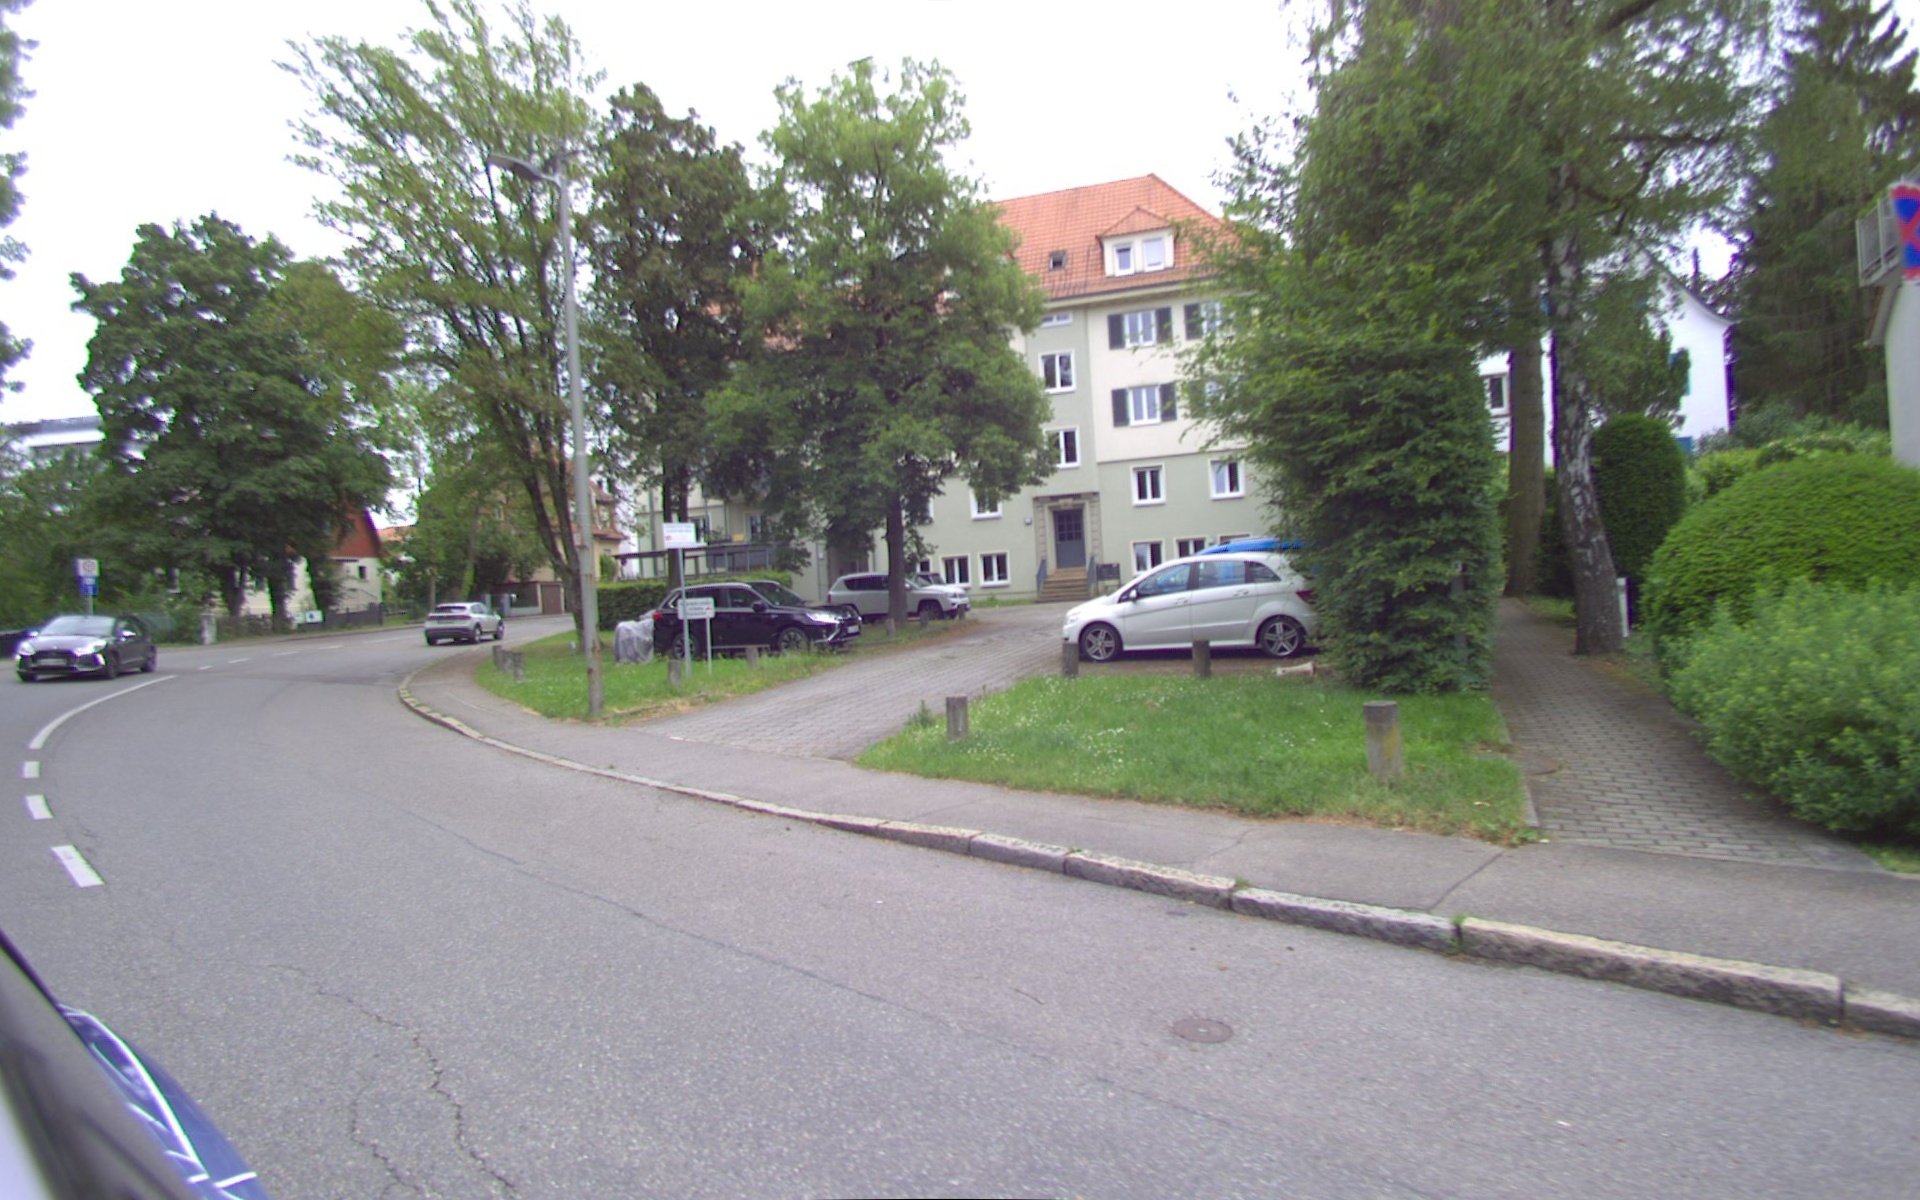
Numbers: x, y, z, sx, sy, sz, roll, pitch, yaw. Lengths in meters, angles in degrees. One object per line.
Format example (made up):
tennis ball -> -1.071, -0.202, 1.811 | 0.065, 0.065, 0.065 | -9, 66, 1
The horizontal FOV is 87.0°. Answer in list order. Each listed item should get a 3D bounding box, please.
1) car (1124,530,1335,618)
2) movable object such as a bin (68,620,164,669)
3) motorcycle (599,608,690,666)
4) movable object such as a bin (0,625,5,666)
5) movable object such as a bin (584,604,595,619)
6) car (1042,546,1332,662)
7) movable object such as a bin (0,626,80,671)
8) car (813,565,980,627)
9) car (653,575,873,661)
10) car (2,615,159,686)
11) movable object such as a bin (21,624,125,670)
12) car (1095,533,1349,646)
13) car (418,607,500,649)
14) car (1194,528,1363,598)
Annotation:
car -> 6.223, -0.585, 23.494 | 4.460, 1.690, 1.997 | -3, 1, 18
movable object such as a bin -> -35.262, 1.835, 42.350 | 2.085, 1.800, 2.203 | -3, 1, 8
motorcycle -> -7.151, 0.826, 23.041 | 0.859, 1.160, 2.052 | -2, 1, 21
movable object such as a bin -> -37.365, 1.783, 37.981 | 1.408, 1.559, 1.673 | -3, 1, 4
movable object such as a bin -> -24.352, 0.748, 66.547 | 0.458, 0.931, 0.563 | 0, 2, 14
car -> 3.612, 0.081, 16.128 | 4.244, 1.605, 1.734 | -2, 1, 23
movable object such as a bin -> -39.954, 2.090, 43.543 | 2.209, 1.745, 2.203 | -3, 1, 8
car -> -1.891, -0.113, 30.454 | 4.553, 1.544, 1.945 | -3, 1, 19
car -> -4.199, 0.391, 21.601 | 4.302, 1.605, 1.735 | -2, 1, 21
car -> -20.444, 1.133, 23.716 | 1.619, 1.408, 3.794 | 3, -1, -23
movable object such as a bin -> -37.650, 1.976, 43.000 | 2.471, 1.726, 2.203 | -3, 1, 8
car -> 4.751, -0.178, 18.587 | 4.227, 1.745, 1.738 | -3, 1, 17
car -> -18.538, 1.024, 37.648 | 1.701, 1.468, 4.088 | 1, -1, -11
car -> 9.512, -1.074, 30.254 | 4.597, 1.743, 1.734 | -3, 1, 24
